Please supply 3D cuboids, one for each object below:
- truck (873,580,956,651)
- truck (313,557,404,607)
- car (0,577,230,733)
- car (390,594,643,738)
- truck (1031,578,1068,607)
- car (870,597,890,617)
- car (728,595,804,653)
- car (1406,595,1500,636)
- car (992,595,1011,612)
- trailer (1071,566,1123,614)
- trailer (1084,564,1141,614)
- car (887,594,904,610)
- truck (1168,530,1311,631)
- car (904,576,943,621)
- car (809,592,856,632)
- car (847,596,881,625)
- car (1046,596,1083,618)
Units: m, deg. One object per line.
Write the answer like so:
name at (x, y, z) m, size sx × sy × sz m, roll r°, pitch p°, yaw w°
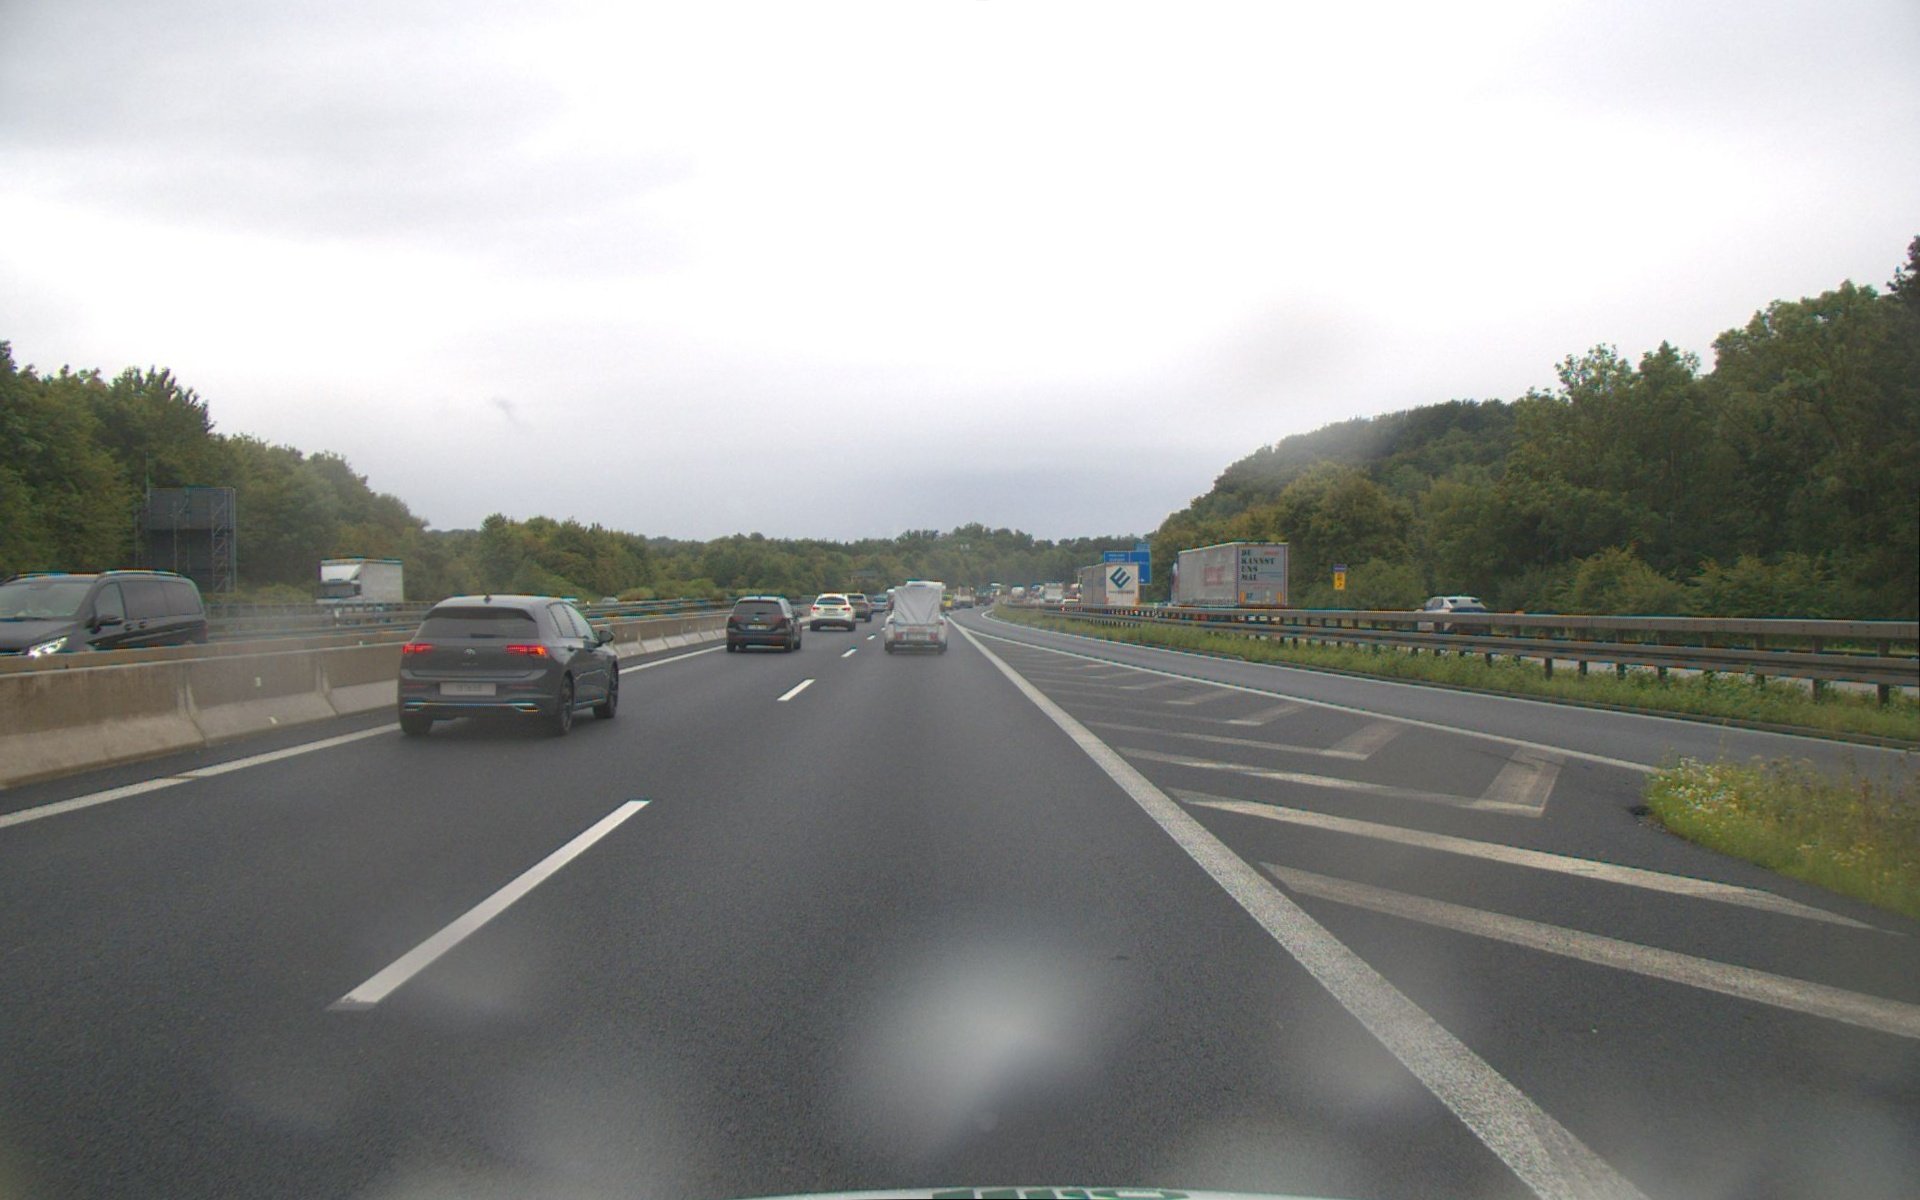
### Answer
truck at (-1.315, 0.447, 47.254) m, size 2.197 × 1.871 × 6.581 m, roll 0°, pitch -1°, yaw -2°
truck at (-36.891, -1.051, 101.793) m, size 2.684 × 2.923 × 8.538 m, roll 0°, pitch 0°, yaw -2°
car at (-12.886, 0.723, 24.416) m, size 1.953 × 2.049 × 5.099 m, roll 0°, pitch 0°, yaw 0°
car at (-4.968, 0.679, 19.152) m, size 1.793 × 1.450 × 4.367 m, roll 1°, pitch 0°, yaw -1°
truck at (12.036, -1.001, 222.975) m, size 3.750 × 3.723 × 8.263 m, roll 1°, pitch 0°, yaw -5°
car at (-7.360, 0.655, 152.709) m, size 1.703 × 1.825 × 3.999 m, roll 1°, pitch 0°, yaw -1°
car at (-5.295, 0.630, 45.684) m, size 1.752 × 1.484 × 4.799 m, roll 1°, pitch 0°, yaw -3°
car at (18.886, 0.574, 63.605) m, size 1.784 × 1.530 × 5.027 m, roll 0°, pitch 0°, yaw -4°
car at (4.106, 0.368, 163.739) m, size 1.612 × 1.601 × 3.999 m, roll 1°, pitch 0°, yaw -1°
trailer at (10.904, -0.773, 132.381) m, size 2.880 × 3.588 × 8.412 m, roll 1°, pitch 0°, yaw -4°
trailer at (11.378, -0.781, 124.139) m, size 3.017 × 3.588 × 8.079 m, roll 1°, pitch 0°, yaw -3°
car at (-7.092, 0.234, 182.799) m, size 1.782 × 1.691 × 4.016 m, roll 0°, pitch 0°, yaw -1°
truck at (13.932, -0.864, 84.676) m, size 3.744 × 4.620 × 16.875 m, roll 0°, pitch 0°, yaw -3°
car at (-2.424, -0.091, 106.957) m, size 2.285 × 2.773 × 6.535 m, roll 0°, pitch 0°, yaw -3°
car at (-5.734, 0.534, 74.389) m, size 2.008 × 1.700 × 4.537 m, roll 1°, pitch 0°, yaw -4°
car at (-5.910, 0.615, 102.400) m, size 1.936 × 1.733 × 4.800 m, roll 1°, pitch 0°, yaw -2°
car at (8.105, 0.532, 128.406) m, size 1.956 × 1.645 × 5.070 m, roll 0°, pitch 0°, yaw -7°
